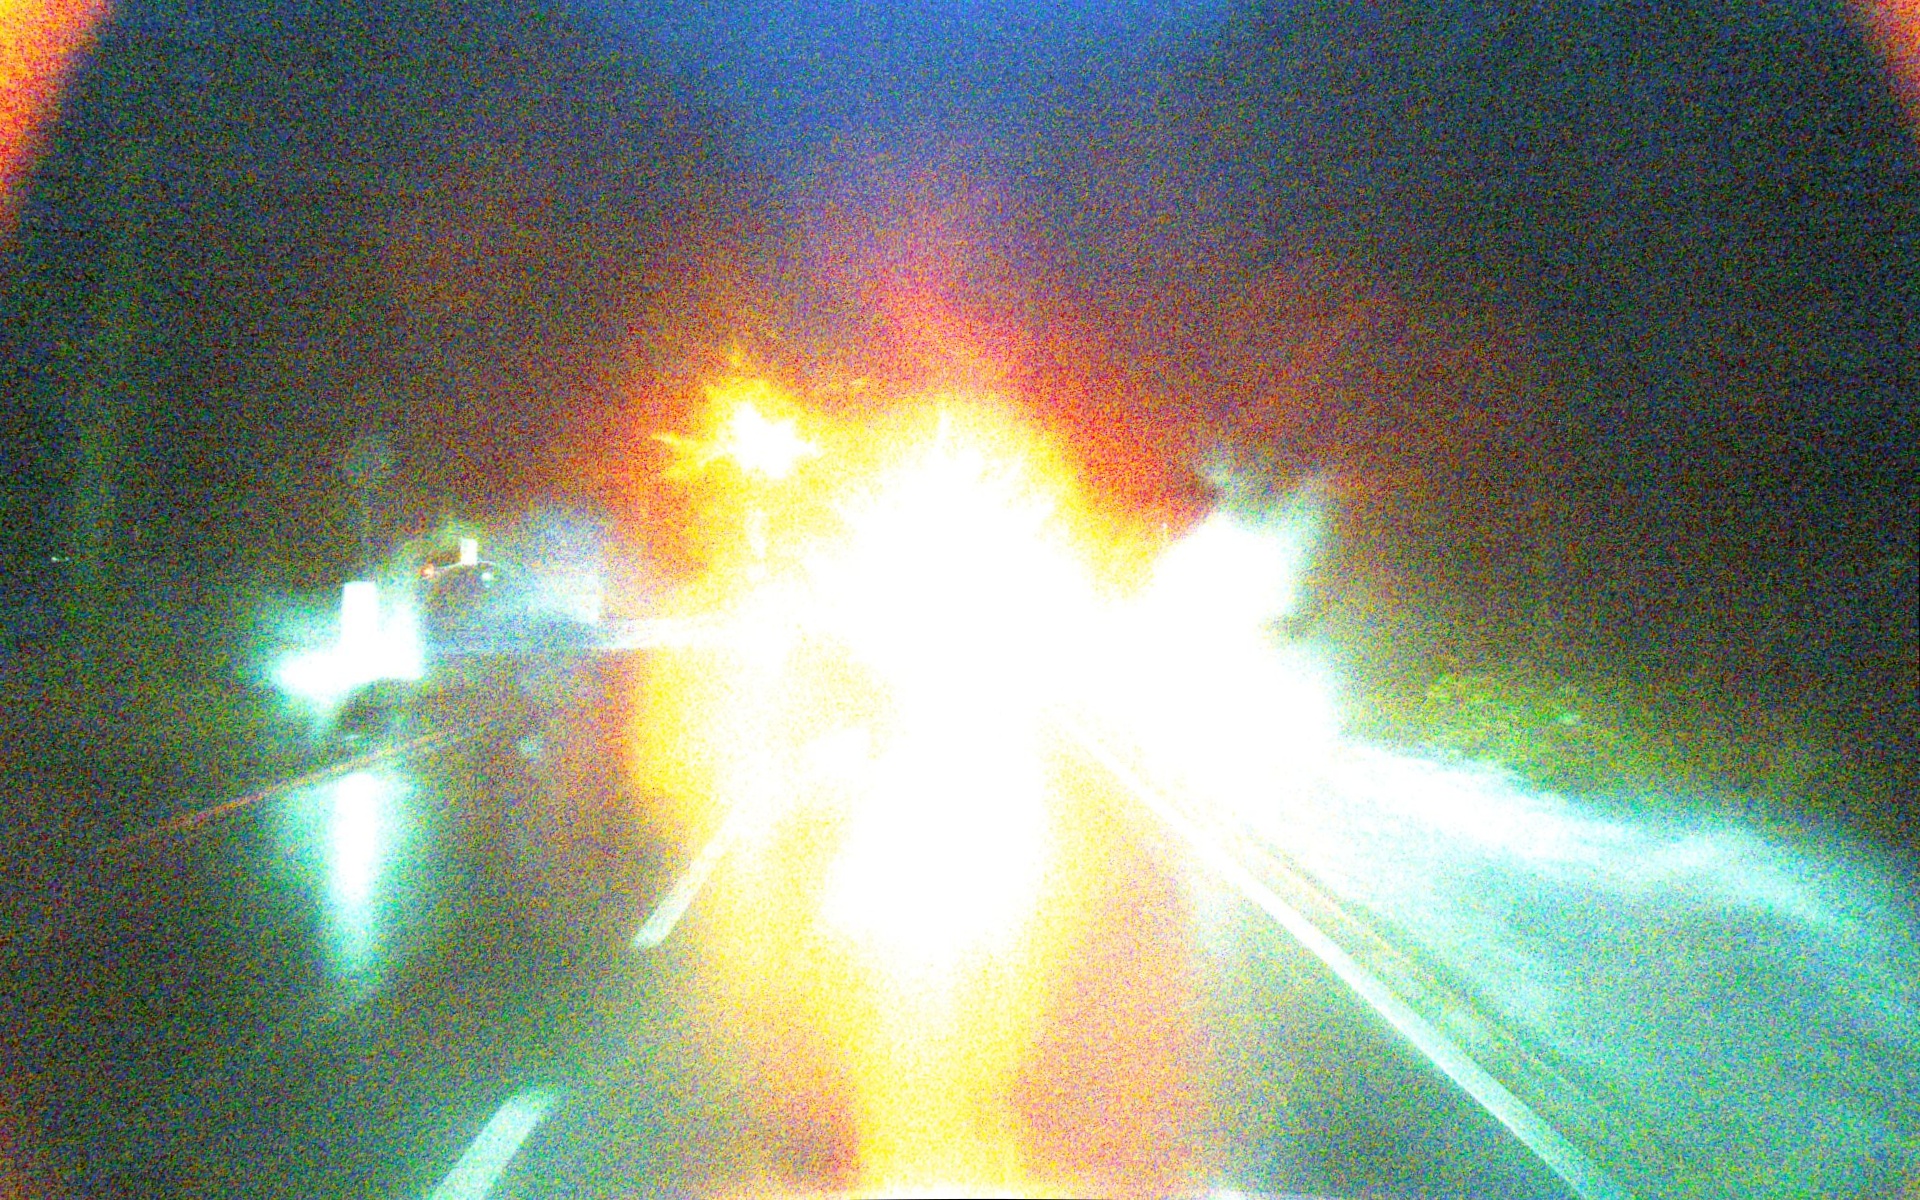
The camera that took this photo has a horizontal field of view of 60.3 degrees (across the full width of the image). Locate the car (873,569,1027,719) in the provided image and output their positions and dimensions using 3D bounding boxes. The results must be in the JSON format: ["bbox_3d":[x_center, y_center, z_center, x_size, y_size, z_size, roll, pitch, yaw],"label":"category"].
[{"bbox_3d":[-0.078,0.485,20.979,1.754,1.711,3.905,1,0,1],"label":"car"}]
